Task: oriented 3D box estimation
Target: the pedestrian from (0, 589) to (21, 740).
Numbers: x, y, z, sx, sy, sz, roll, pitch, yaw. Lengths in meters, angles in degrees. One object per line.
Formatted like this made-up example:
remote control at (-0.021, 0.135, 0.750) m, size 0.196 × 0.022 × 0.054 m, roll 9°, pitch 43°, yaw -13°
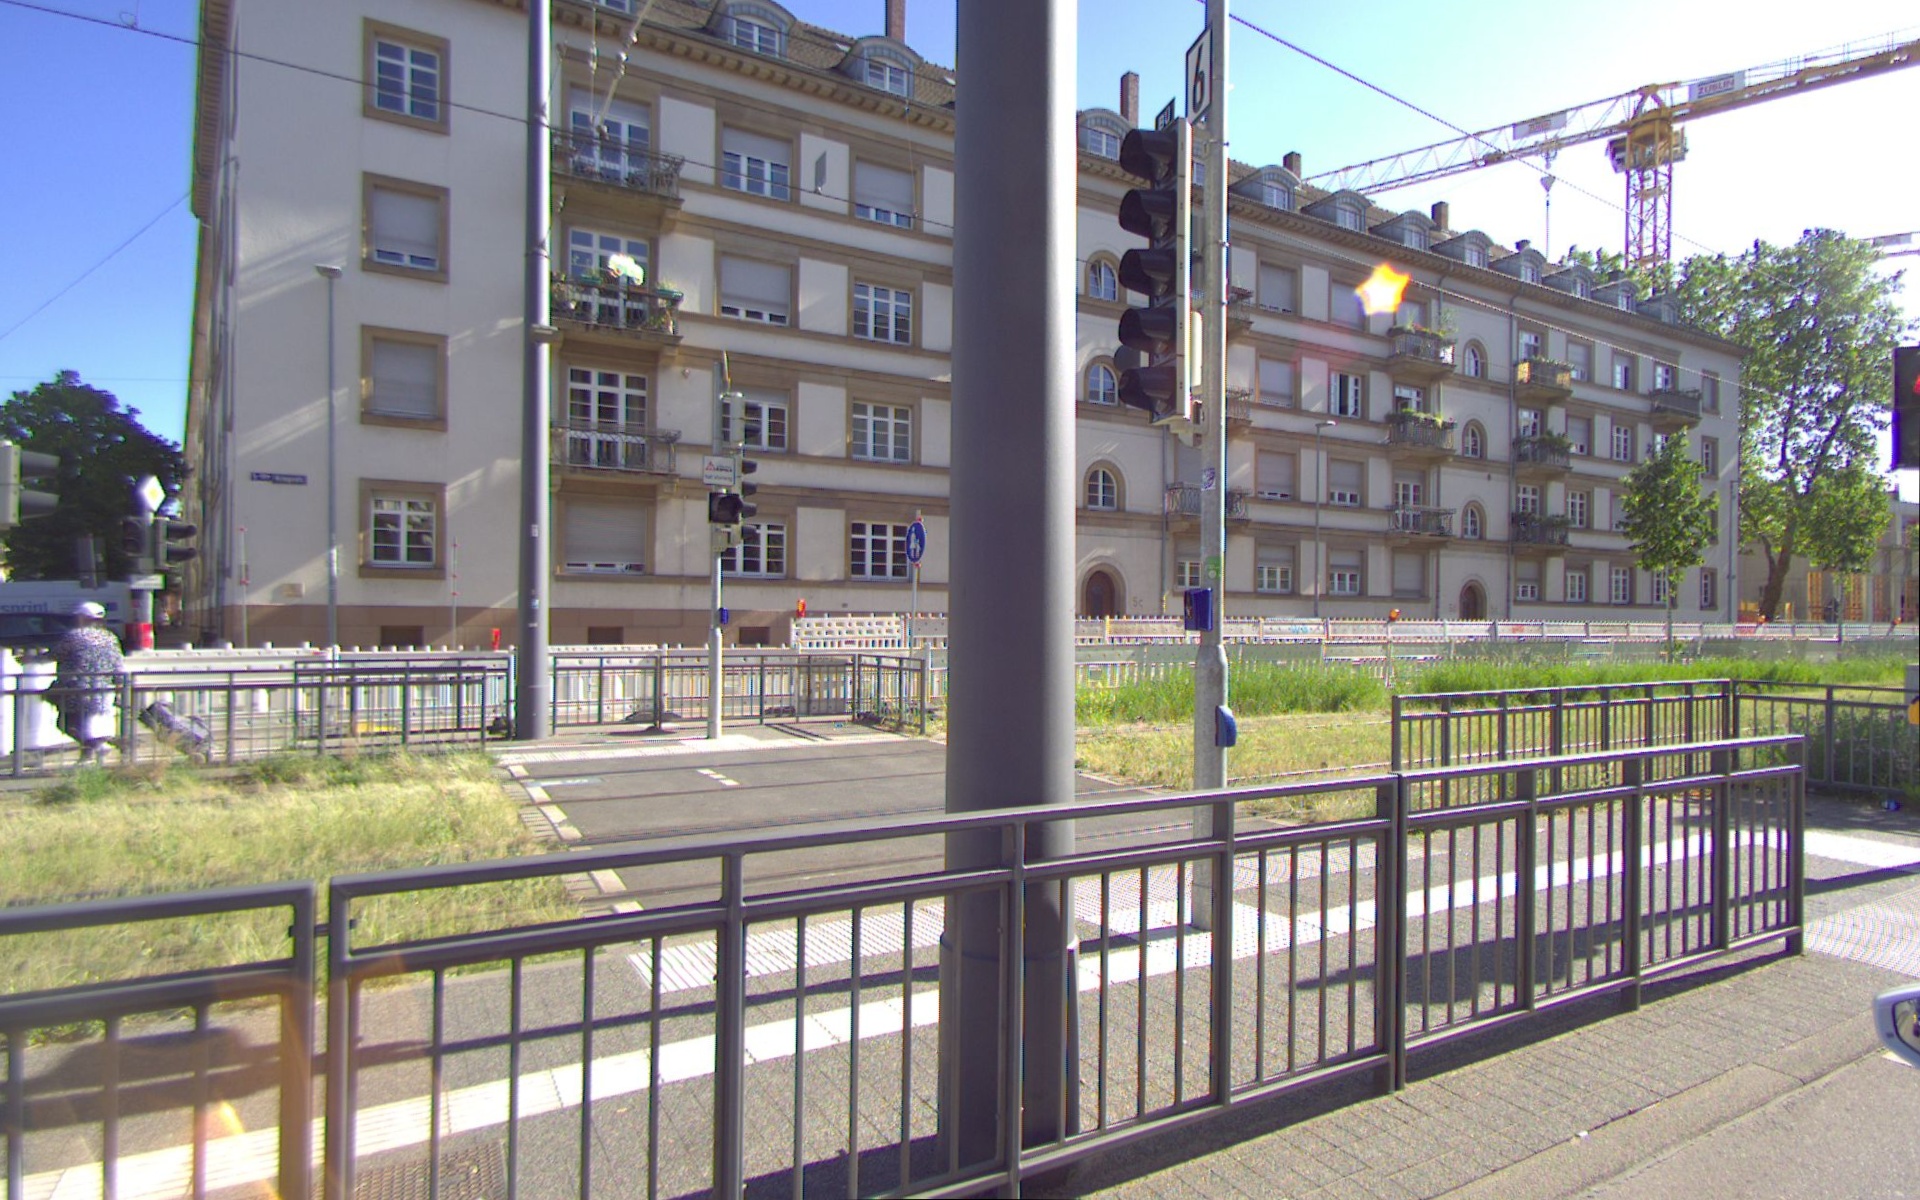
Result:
pedestrian at (-11.901, 0.769, 11.855) m, size 0.895 × 1.804 × 0.864 m, roll 1°, pitch 0°, yaw -20°

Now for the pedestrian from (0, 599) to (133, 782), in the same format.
pedestrian at (-8.109, 0.780, 9.092) m, size 0.805 × 1.557 × 0.791 m, roll 1°, pitch 0°, yaw -30°

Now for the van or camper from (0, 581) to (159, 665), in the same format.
van or camper at (-27.926, 0.695, 30.191) m, size 5.911 × 2.432 × 1.976 m, roll 1°, pitch -1°, yaw -42°

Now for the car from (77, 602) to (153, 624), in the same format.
car at (-58.301, 0.891, 69.321) m, size 1.730 × 1.480 × 3.854 m, roll 0°, pitch -1°, yaw 43°

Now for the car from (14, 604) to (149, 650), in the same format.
car at (-35.533, 1.087, 40.775) m, size 3.963 × 1.799 × 1.724 m, roll 1°, pitch -1°, yaw -37°

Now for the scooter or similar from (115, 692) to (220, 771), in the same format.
scooter or similar at (-7.488, 1.231, 9.515) m, size 0.701 × 0.660 × 0.512 m, roll 1°, pitch 0°, yaw -30°

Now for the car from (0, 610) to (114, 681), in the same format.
car at (-21.488, 1.007, 22.631) m, size 3.642 × 1.542 × 1.672 m, roll 1°, pitch -1°, yaw -39°

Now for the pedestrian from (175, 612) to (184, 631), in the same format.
pedestrian at (-75.080, 2.045, 96.619) m, size 0.682 × 1.778 × 0.808 m, roll 1°, pitch -1°, yaw -36°

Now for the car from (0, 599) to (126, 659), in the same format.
car at (-24.714, 0.772, 26.866) m, size 3.635 × 1.542 × 1.672 m, roll 1°, pitch -1°, yaw -39°
